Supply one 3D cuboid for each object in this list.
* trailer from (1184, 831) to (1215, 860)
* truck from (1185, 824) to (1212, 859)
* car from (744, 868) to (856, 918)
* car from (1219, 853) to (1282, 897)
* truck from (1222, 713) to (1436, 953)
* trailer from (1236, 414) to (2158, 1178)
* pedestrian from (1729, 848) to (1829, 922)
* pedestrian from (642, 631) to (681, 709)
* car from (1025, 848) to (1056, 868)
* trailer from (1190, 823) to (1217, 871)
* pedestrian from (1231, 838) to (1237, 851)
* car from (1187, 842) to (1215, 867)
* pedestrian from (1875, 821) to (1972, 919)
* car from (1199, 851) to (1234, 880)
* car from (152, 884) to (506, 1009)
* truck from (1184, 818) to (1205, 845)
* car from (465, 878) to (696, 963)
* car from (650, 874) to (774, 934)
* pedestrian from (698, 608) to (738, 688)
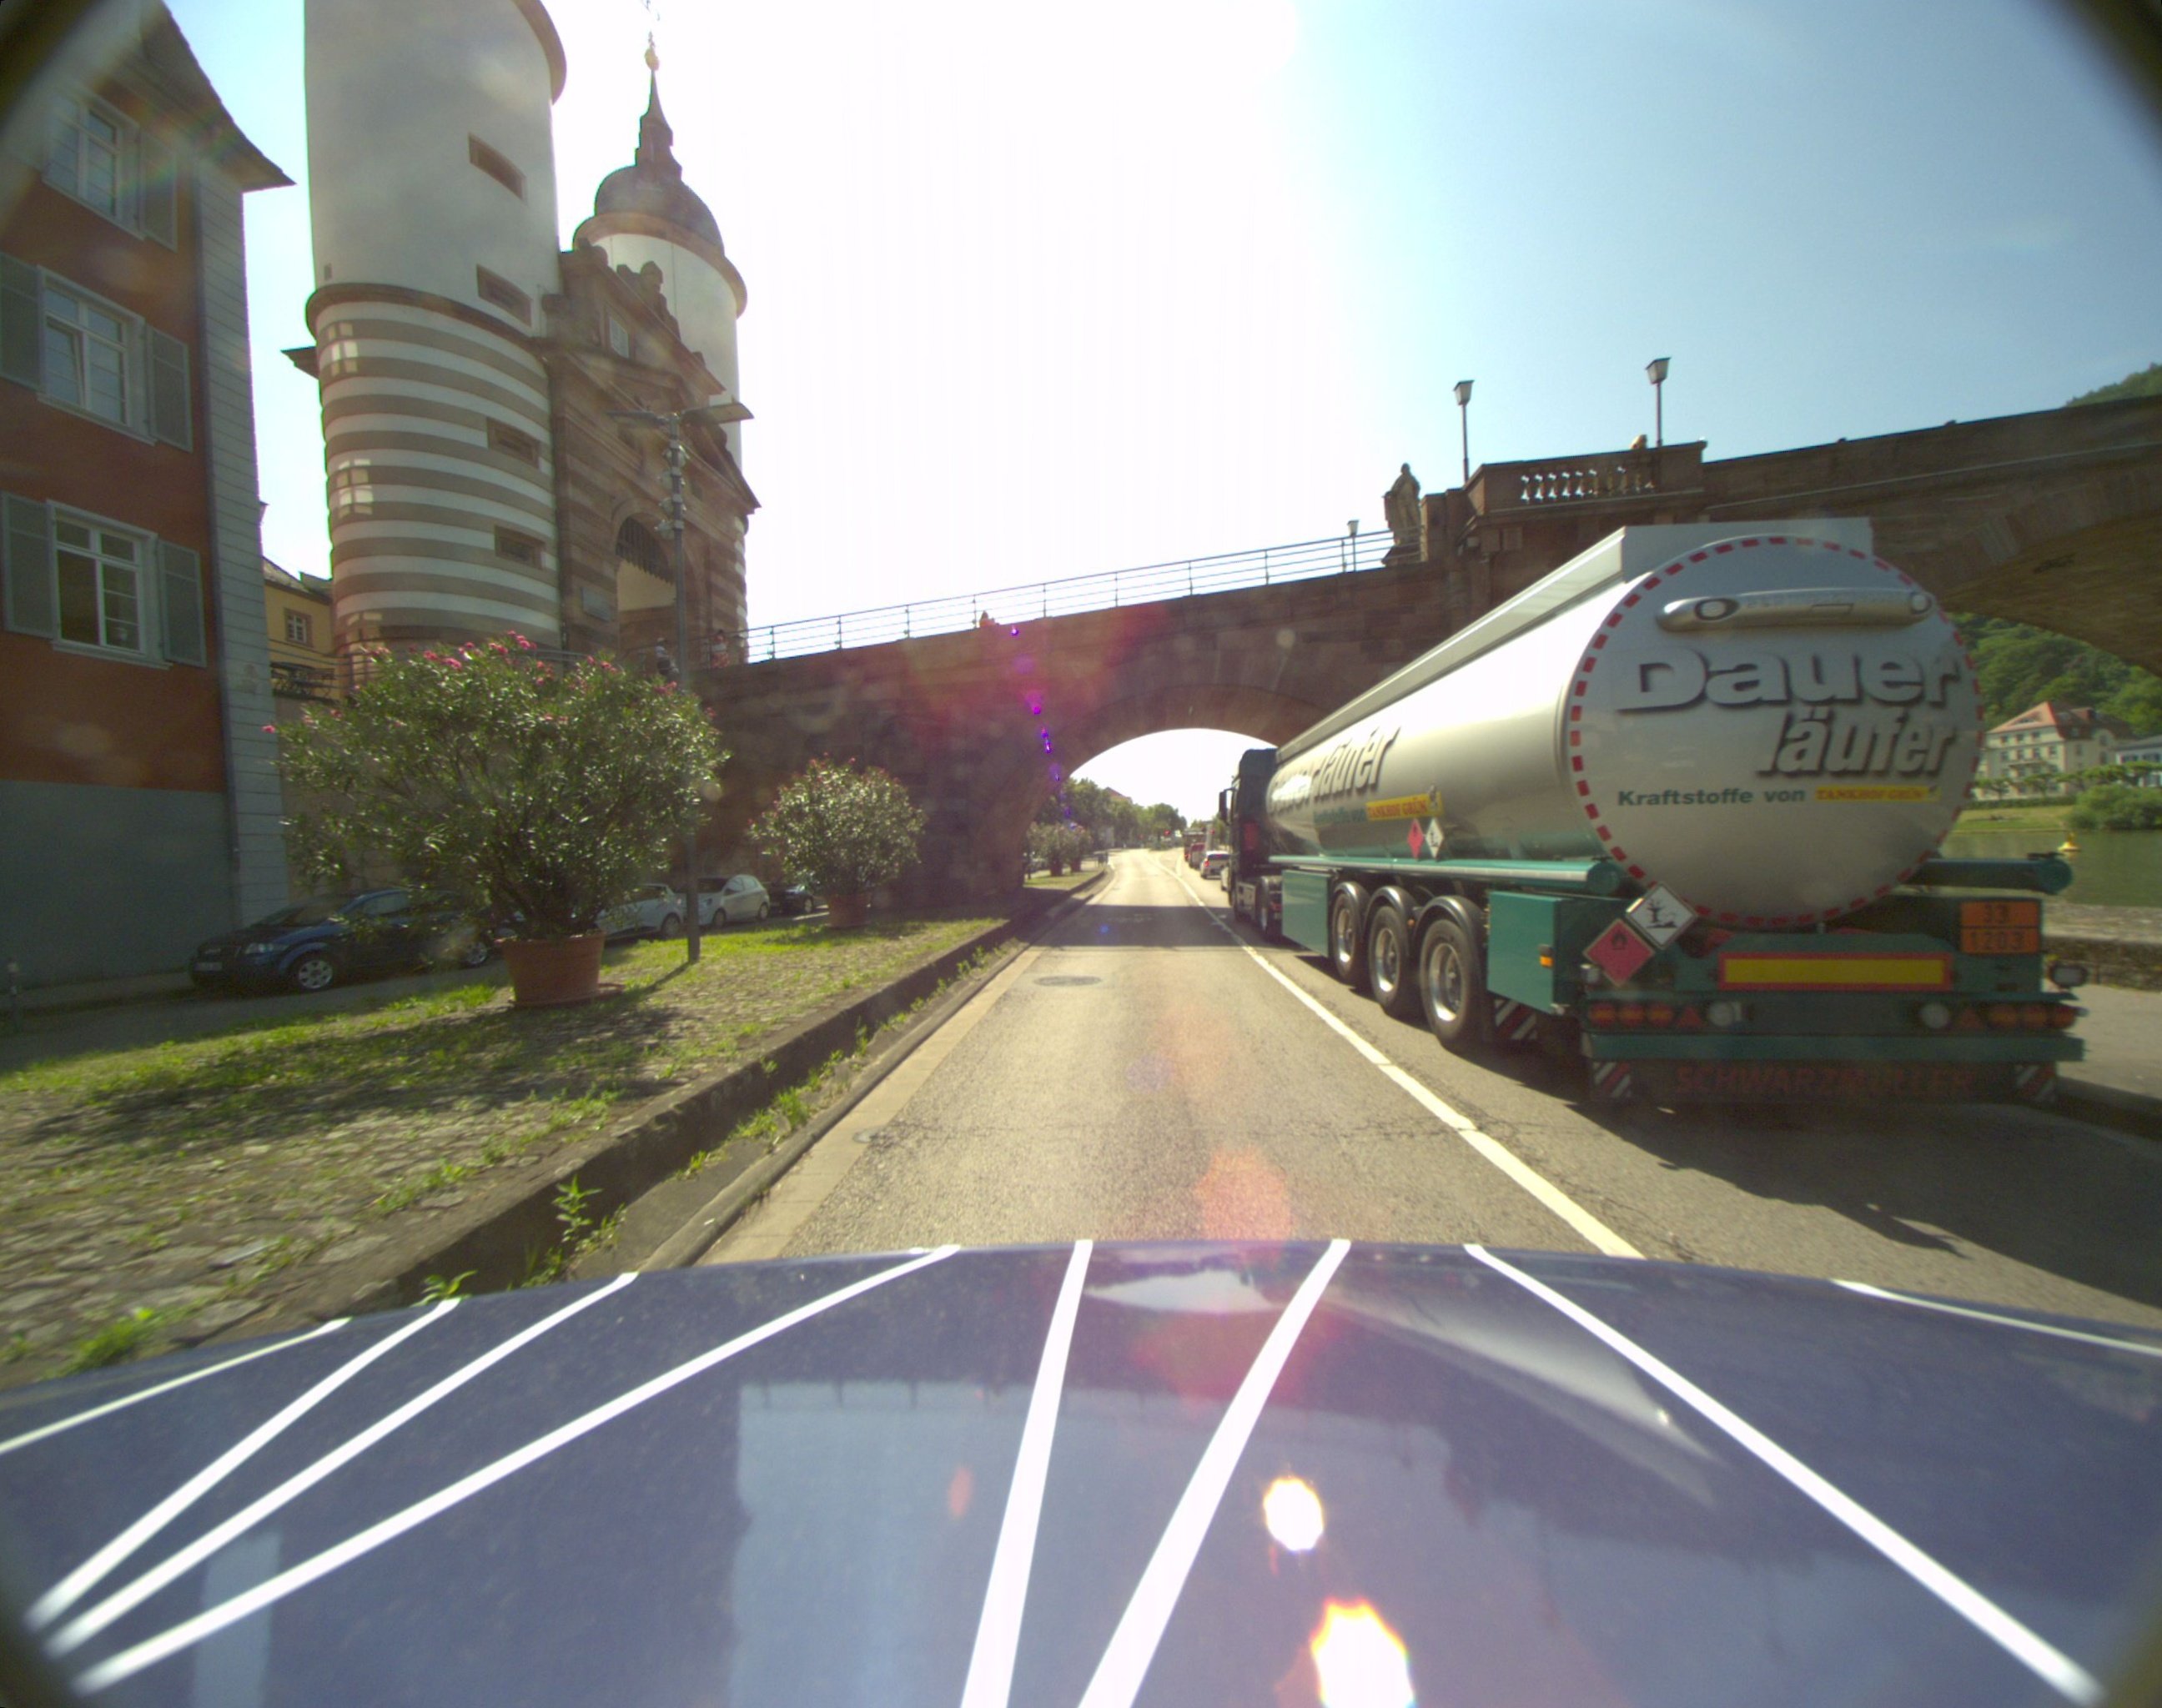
[{"bbox_3d":[11.137,-0.851,71.740,2.702,2.517,6.949,0,2,8],"label":"trailer"},{"bbox_3d":[12.392,-1.393,80.258,2.647,3.438,7.873,0,2,8],"label":"truck"},{"bbox_3d":[-9.805,1.319,26.957,1.779,1.428,4.494,-2,1,8],"label":"car"},{"bbox_3d":[6.148,0.724,27.988,1.726,1.428,4.401,0,1,5],"label":"car"},{"bbox_3d":[4.432,-0.315,14.966,2.529,3.727,6.247,0,0,4],"label":"truck"},{"bbox_3d":[4.114,-0.272,9.419,2.529,3.623,11.532,-1,0,3],"label":"trailer"},{"bbox_3d":[12.417,0.538,13.552,0.790,1.222,1.026,-3,0,1],"label":"pedestrian"},{"bbox_3d":[-11.744,-5.139,21.307,0.580,2.002,0.707,-1,2,6],"label":"pedestrian"},{"bbox_3d":[-3.240,0.307,61.400,1.614,1.405,3.905,-2,2,11],"label":"car"},{"bbox_3d":[8.698,-0.532,54.094,1.745,3.302,3.385,0,2,7],"label":"trailer"},{"bbox_3d":[21.706,-1.362,107.593,0.713,1.696,0.846,-3,0,11],"label":"pedestrian"},{"bbox_3d":[9.254,0.026,58.736,1.878,1.817,4.545,0,1,6],"label":"car"},{"bbox_3d":[14.791,0.272,13.361,0.790,1.641,0.774,-3,0,1],"label":"pedestrian"},{"bbox_3d":[7.310,0.583,41.217,1.538,1.428,3.729,0,1,5],"label":"car"},{"bbox_3d":[-12.116,1.400,12.638,1.674,1.533,3.814,-3,1,12],"label":"car"},{"bbox_3d":[15.798,-3.102,105.250,2.647,3.457,11.112,-1,2,10],"label":"truck"},{"bbox_3d":[-11.066,1.399,17.286,1.896,1.484,4.418,-1,1,8],"label":"car"},{"bbox_3d":[-10.399,1.363,21.708,1.557,1.411,3.570,-2,1,4],"label":"car"},{"bbox_3d":[-10.055,-5.692,21.077,0.640,2.002,0.707,-1,2,6],"label":"pedestrian"}]
